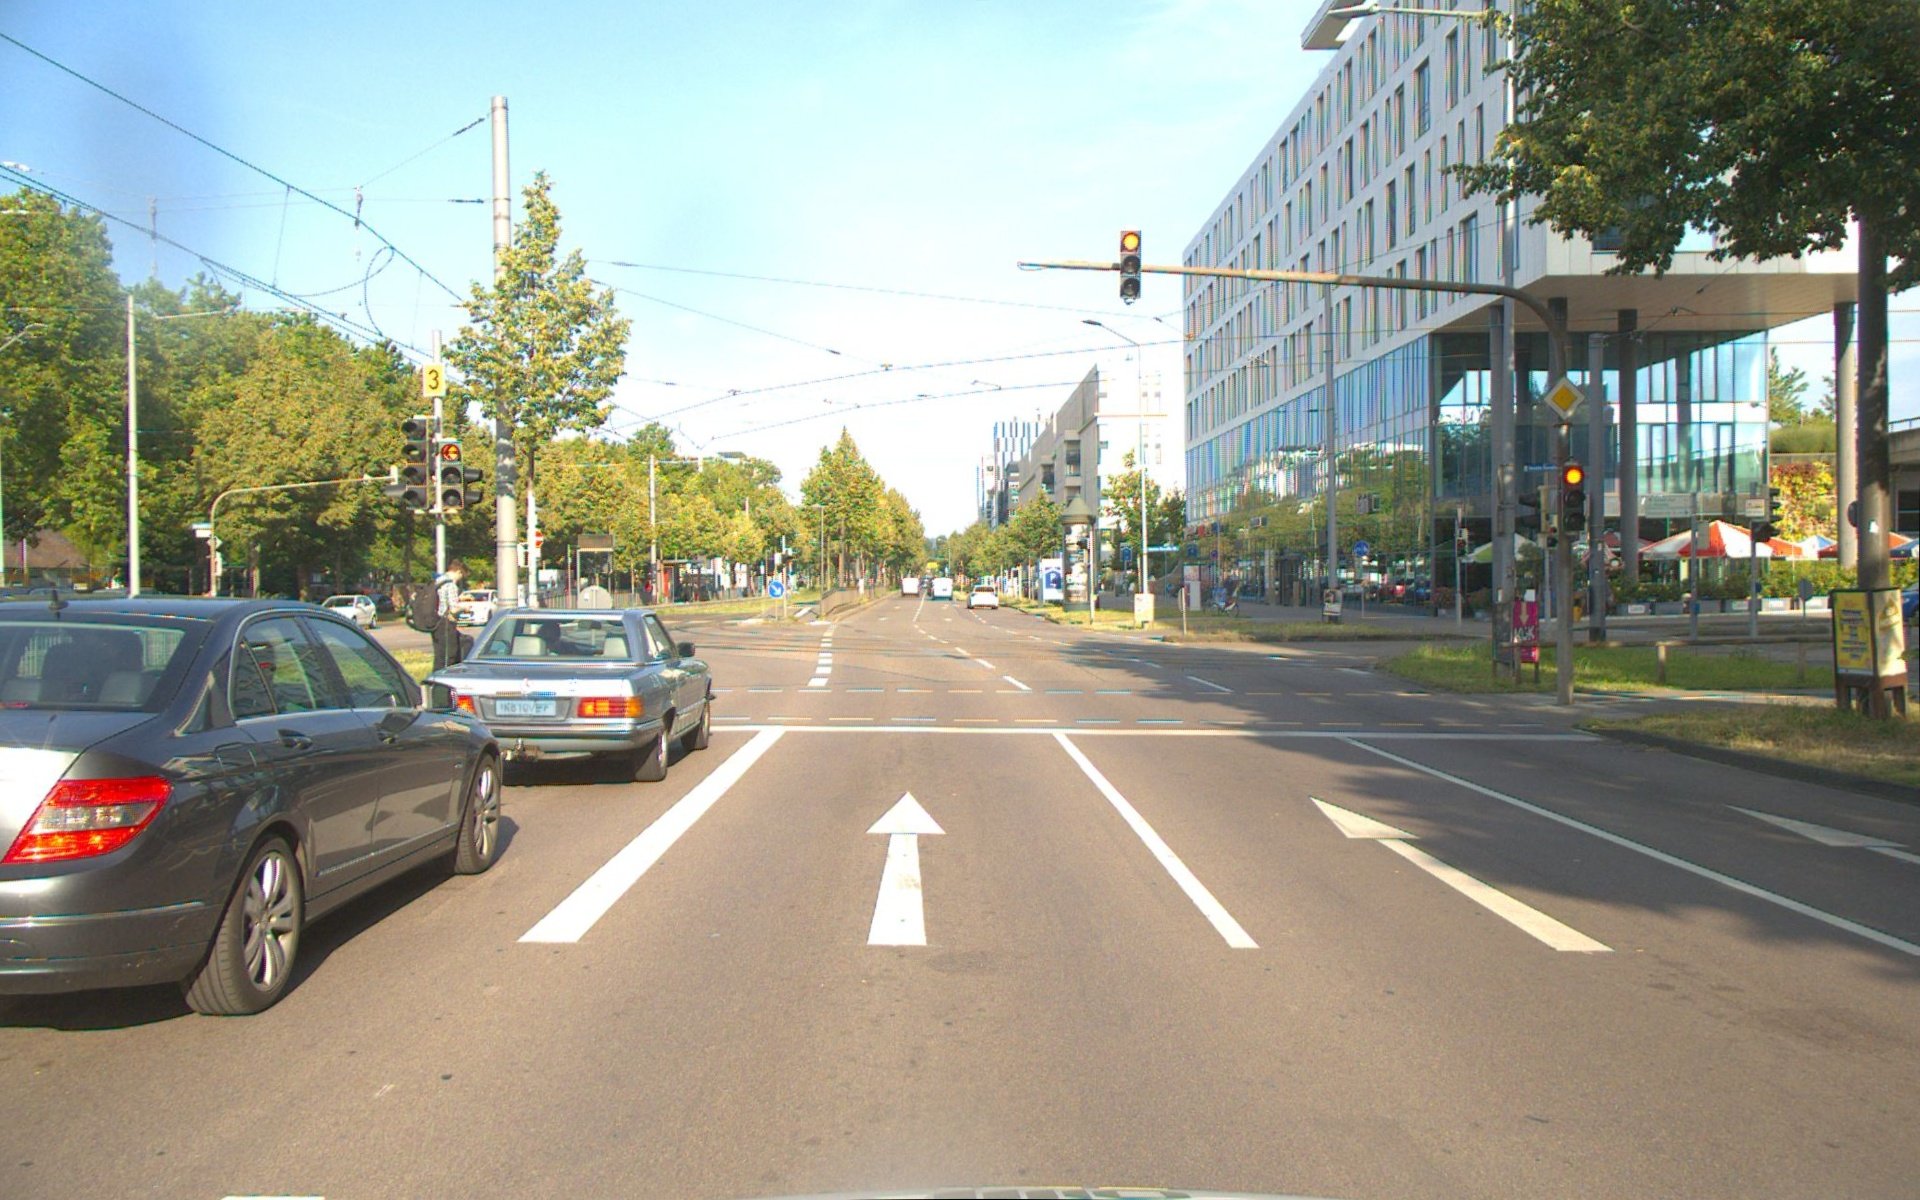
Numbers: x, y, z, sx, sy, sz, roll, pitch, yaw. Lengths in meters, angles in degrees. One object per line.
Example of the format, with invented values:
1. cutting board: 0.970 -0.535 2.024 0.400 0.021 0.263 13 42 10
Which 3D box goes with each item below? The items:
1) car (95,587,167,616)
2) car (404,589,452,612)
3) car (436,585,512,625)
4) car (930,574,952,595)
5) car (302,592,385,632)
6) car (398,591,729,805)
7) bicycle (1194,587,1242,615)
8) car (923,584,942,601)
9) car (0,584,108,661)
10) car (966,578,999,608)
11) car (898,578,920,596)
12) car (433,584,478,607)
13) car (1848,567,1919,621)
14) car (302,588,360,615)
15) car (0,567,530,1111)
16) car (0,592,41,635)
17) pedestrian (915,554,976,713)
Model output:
1. car: -47.442 0.085 94.711 1.842 1.586 4.002 -1 0 4
2. car: -37.771 0.004 117.582 1.842 1.586 4.002 -1 0 4
3. car: -19.960 0.178 68.105 1.953 1.530 4.092 -2 1 -1
4. car: -1.613 -1.310 140.837 1.826 1.713 4.000 1 1 -1
5. car: -25.918 0.466 69.702 1.838 1.554 4.224 -1 1 0
6. car: -2.980 0.653 13.360 1.728 1.353 4.399 1 1 -2
7. bicycle: 10.606 0.022 67.963 0.768 1.050 1.848 -1 3 -44
8. car: -2.851 -0.763 169.531 1.885 1.713 4.000 1 1 -1
9. car: -23.082 0.512 40.381 1.953 1.714 4.995 -1 1 0
10. car: 1.334 -0.449 99.407 1.826 1.713 4.000 1 1 -1
11. car: -4.985 -1.313 161.743 1.973 1.713 4.000 1 1 -1
12. car: -37.365 -0.346 122.669 1.842 1.586 4.002 -1 0 4
13. car: 27.897 -0.212 47.245 4.100 1.448 1.858 -1 1 -2
14. car: -38.945 0.057 102.532 1.842 1.586 4.002 -1 0 4
15. car: -3.177 0.632 6.803 1.750 1.504 4.353 1 1 -1
16. car: -40.677 0.570 69.290 1.842 1.780 4.002 -1 0 4
17. pedestrian: -0.166 0.381 19.379 0.685 1.823 0.635 1 0 -1
